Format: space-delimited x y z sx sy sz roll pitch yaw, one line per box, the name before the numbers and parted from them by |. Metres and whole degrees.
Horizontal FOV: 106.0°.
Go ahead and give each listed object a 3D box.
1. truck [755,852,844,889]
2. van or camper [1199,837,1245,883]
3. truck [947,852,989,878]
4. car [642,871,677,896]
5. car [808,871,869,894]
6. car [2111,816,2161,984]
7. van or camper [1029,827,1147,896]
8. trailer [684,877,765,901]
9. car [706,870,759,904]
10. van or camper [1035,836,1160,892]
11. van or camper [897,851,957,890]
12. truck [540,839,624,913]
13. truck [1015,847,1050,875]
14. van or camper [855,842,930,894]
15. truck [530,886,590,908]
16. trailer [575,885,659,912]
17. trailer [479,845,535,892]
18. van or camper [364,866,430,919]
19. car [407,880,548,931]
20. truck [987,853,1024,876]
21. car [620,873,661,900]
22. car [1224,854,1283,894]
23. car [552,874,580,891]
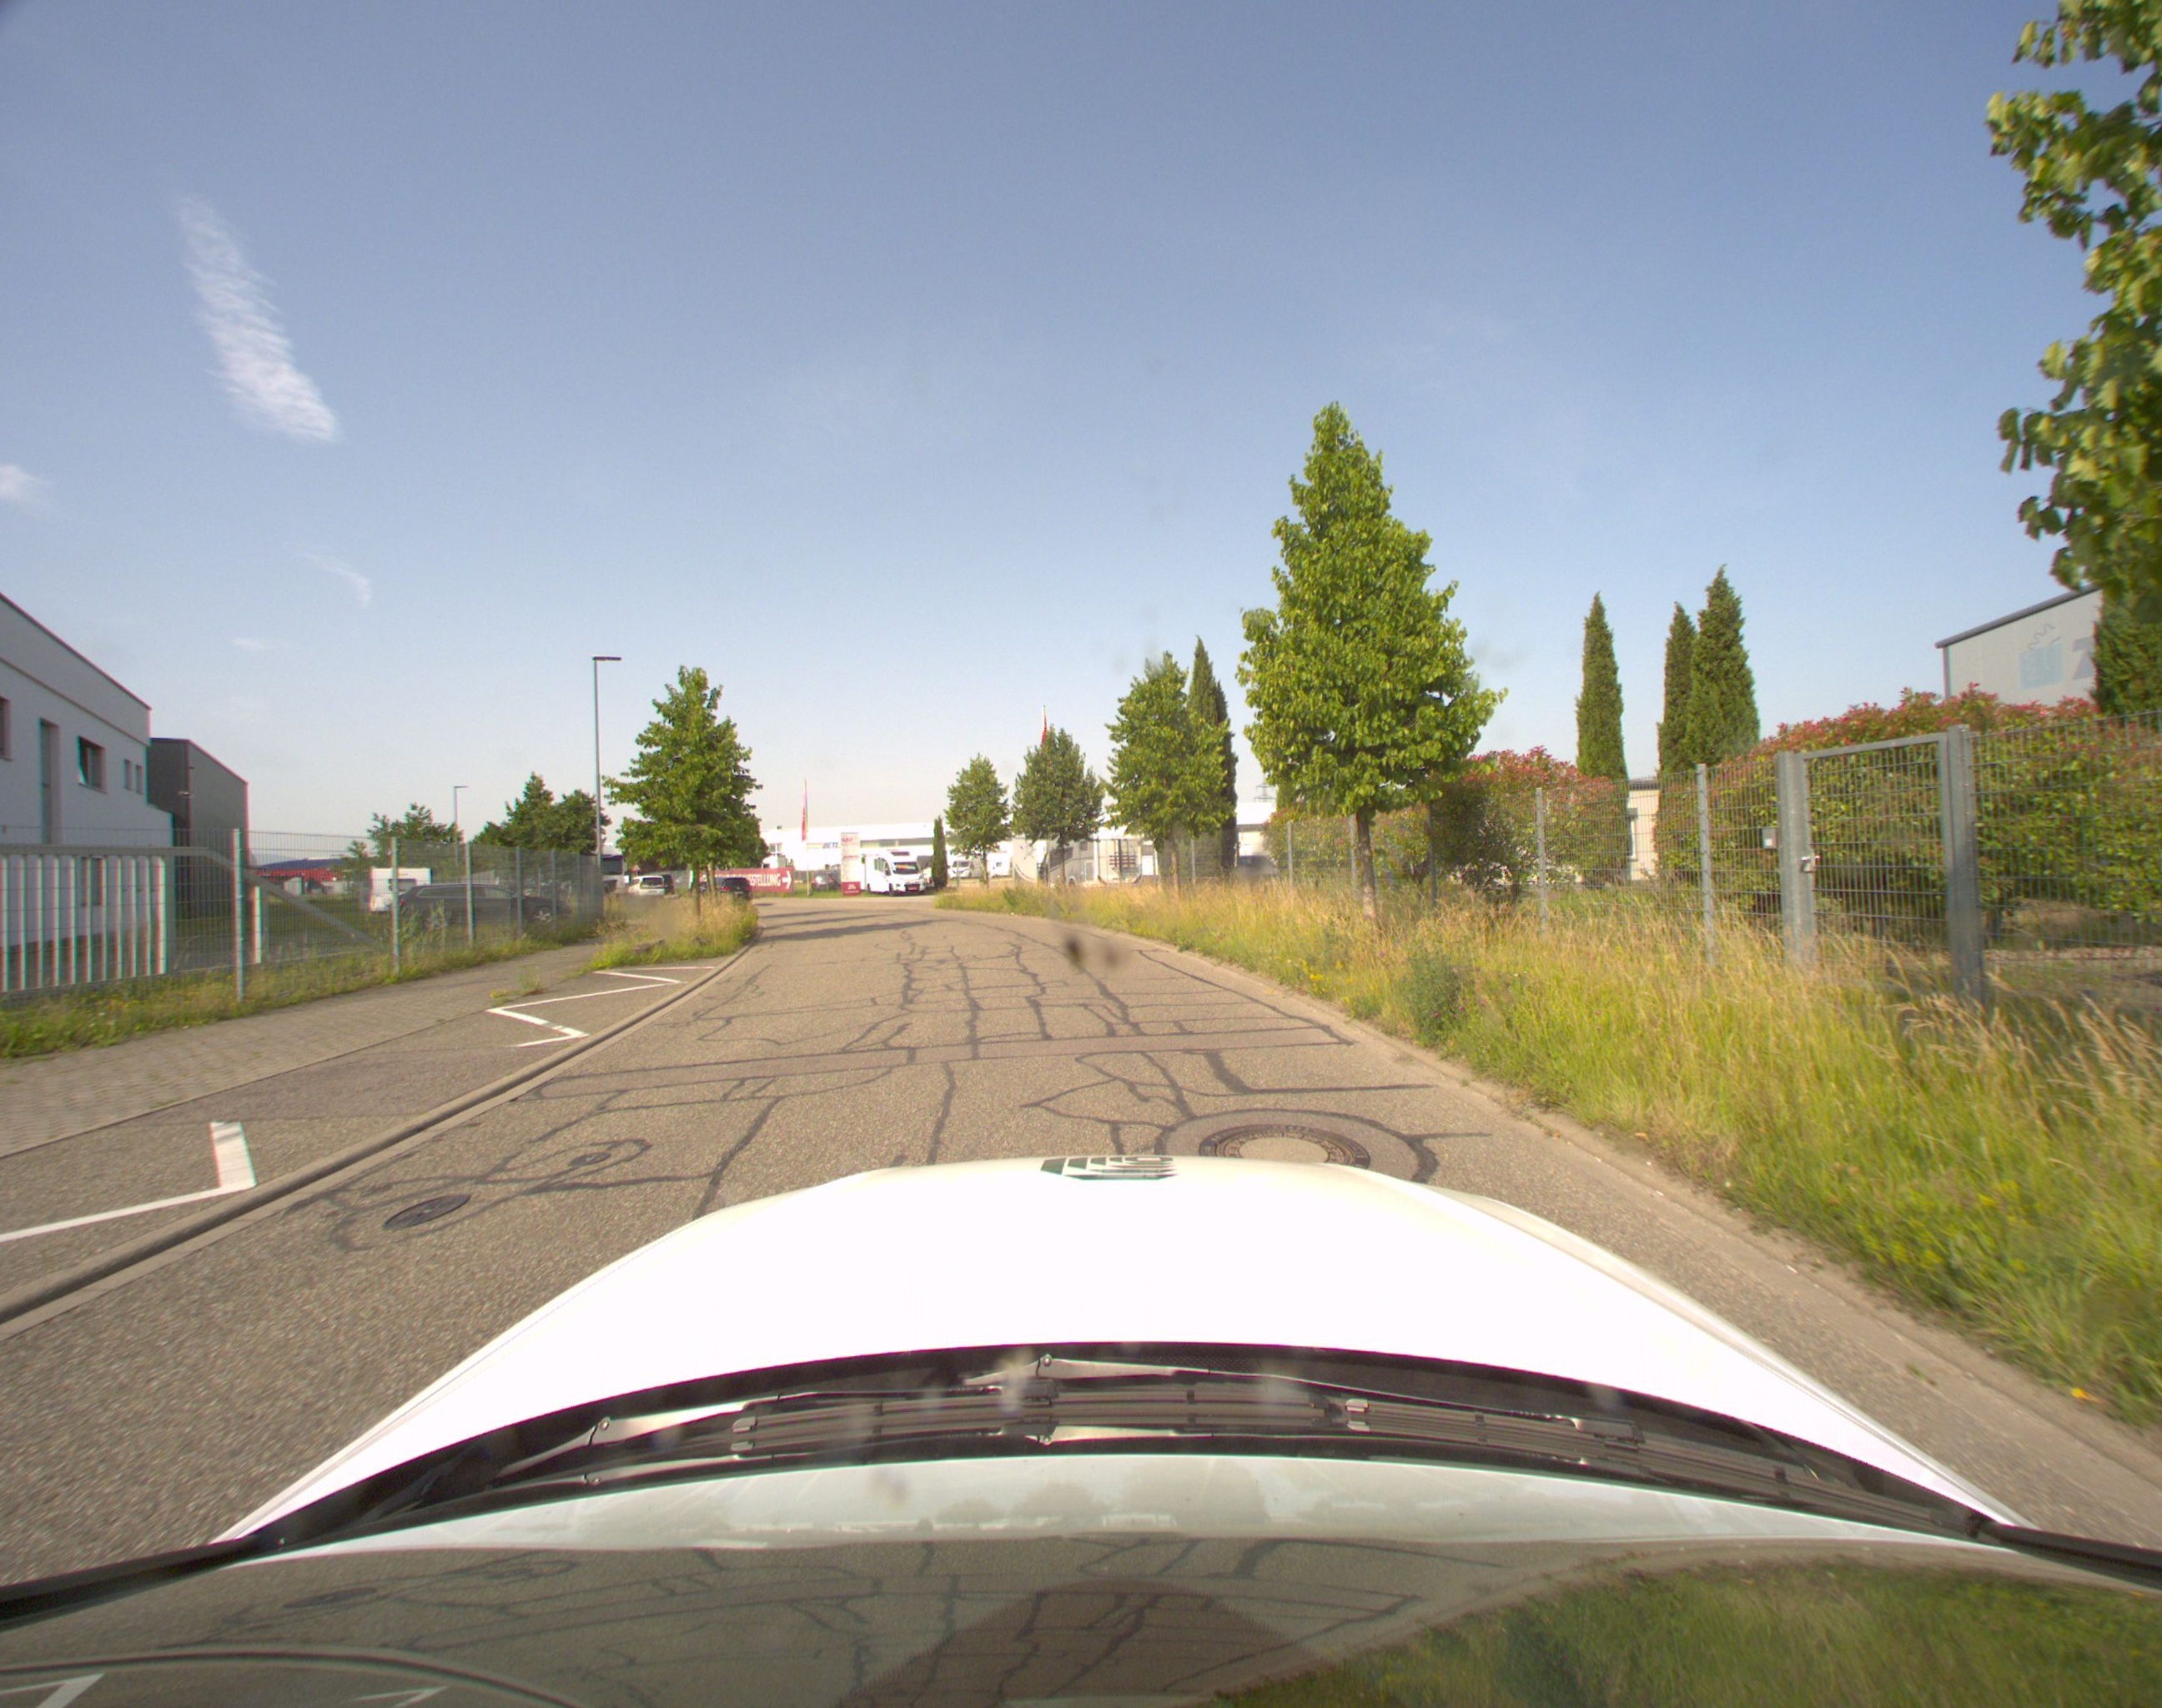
truck | -32.399 1.874 93.868 9.246 3.972 2.460 -2 -1 2
van or camper | 9.674 0.454 56.334 2.311 2.864 6.614 -2 -1 3
truck | -11.845 1.118 85.913 2.438 2.471 8.015 -2 0 6
car | -36.941 2.587 71.386 1.834 1.978 3.954 -6 2 -39
car | -17.428 2.023 58.620 2.147 1.476 4.020 -2 0 20
car | 9.593 0.329 4.478 1.873 1.358 4.775 -2 0 2
van or camper | 0.107 0.388 37.360 2.361 2.848 7.279 -1 -1 -26
trailer | -25.578 2.502 58.168 2.646 1.388 9.342 -4 1 -40
car | -19.848 1.869 46.288 2.008 1.805 3.957 0 -2 -34
van or camper | 0.984 0.618 49.009 7.238 3.032 2.584 -2 -1 -1
van or camper | -10.939 1.100 58.530 2.471 2.559 6.635 -2 0 5
truck | -30.534 1.370 49.490 2.648 3.929 12.767 -1 -1 -39
truck | -5.138 0.708 87.968 2.438 2.826 8.015 -2 0 6
van or camper | -11.831 0.889 50.715 2.347 2.943 6.899 -2 -1 -32
truck | -35.759 2.933 55.769 2.546 1.265 6.448 -2 0 -41
trailer | -22.819 2.152 39.938 2.596 1.100 5.139 -2 0 -41
trailer | -58.164 1.540 82.271 3.432 4.340 13.755 -2 -1 -40
van or camper | -36.051 1.992 42.844 2.326 2.560 4.892 -2 -1 -43
car | -19.535 1.629 26.421 3.523 1.454 1.577 0 -2 -43
truck | -8.076 1.105 88.283 2.438 2.265 8.015 -2 0 6
car | -33.261 2.444 61.474 2.010 1.899 4.416 -2 -1 -38
car | 7.445 0.840 35.573 1.717 1.643 3.999 -1 0 0
car | -56.294 3.153 88.976 2.011 1.772 3.952 -1 -1 -41
